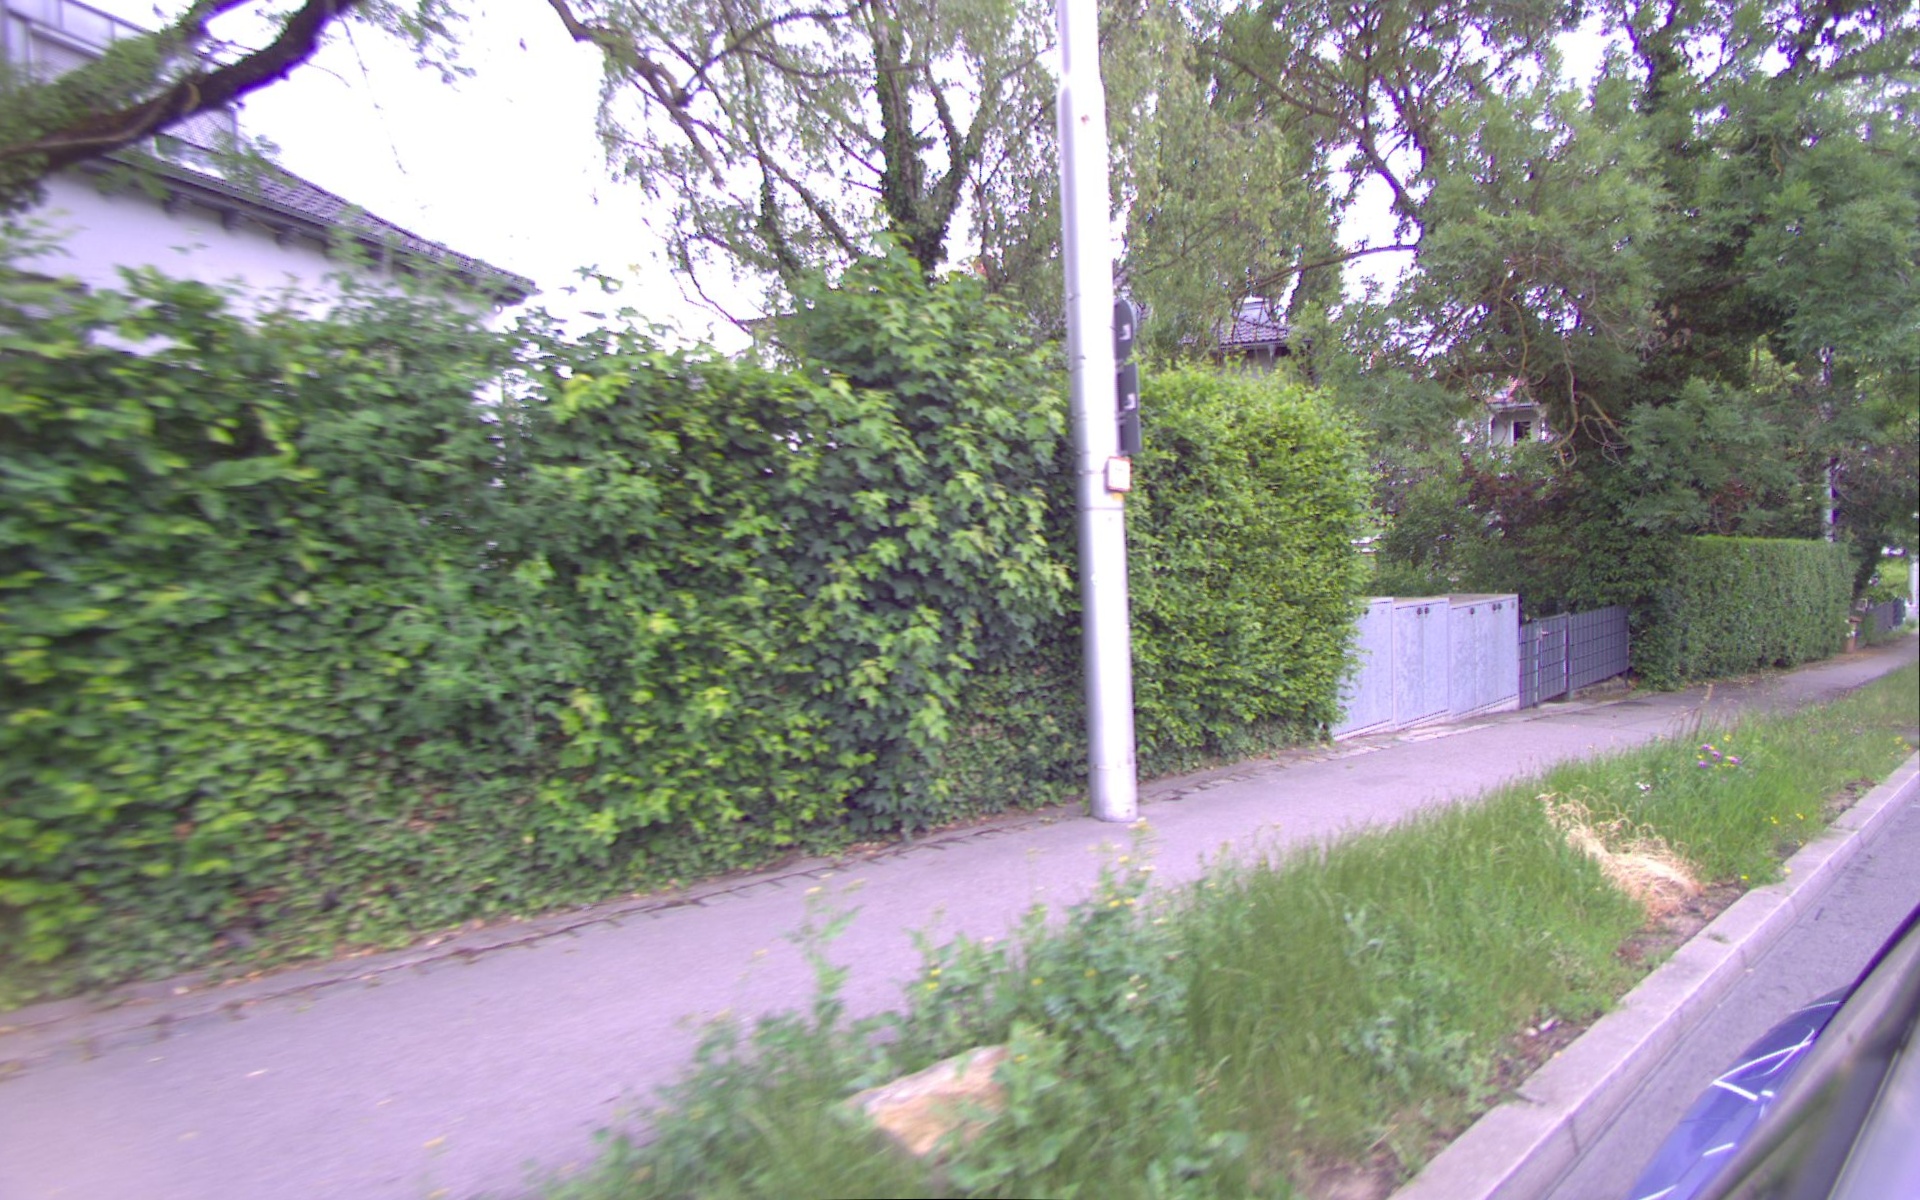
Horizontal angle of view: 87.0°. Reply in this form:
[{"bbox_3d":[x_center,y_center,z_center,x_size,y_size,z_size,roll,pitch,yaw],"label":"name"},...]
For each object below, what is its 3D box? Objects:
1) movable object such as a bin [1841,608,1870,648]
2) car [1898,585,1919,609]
[{"bbox_3d":[21.551,0.666,24.357,0.446,0.922,0.474,0,0,-40],"label":"movable object such as a bin"},{"bbox_3d":[70.789,-0.231,74.418,1.986,1.678,4.383,0,1,34],"label":"car"}]
